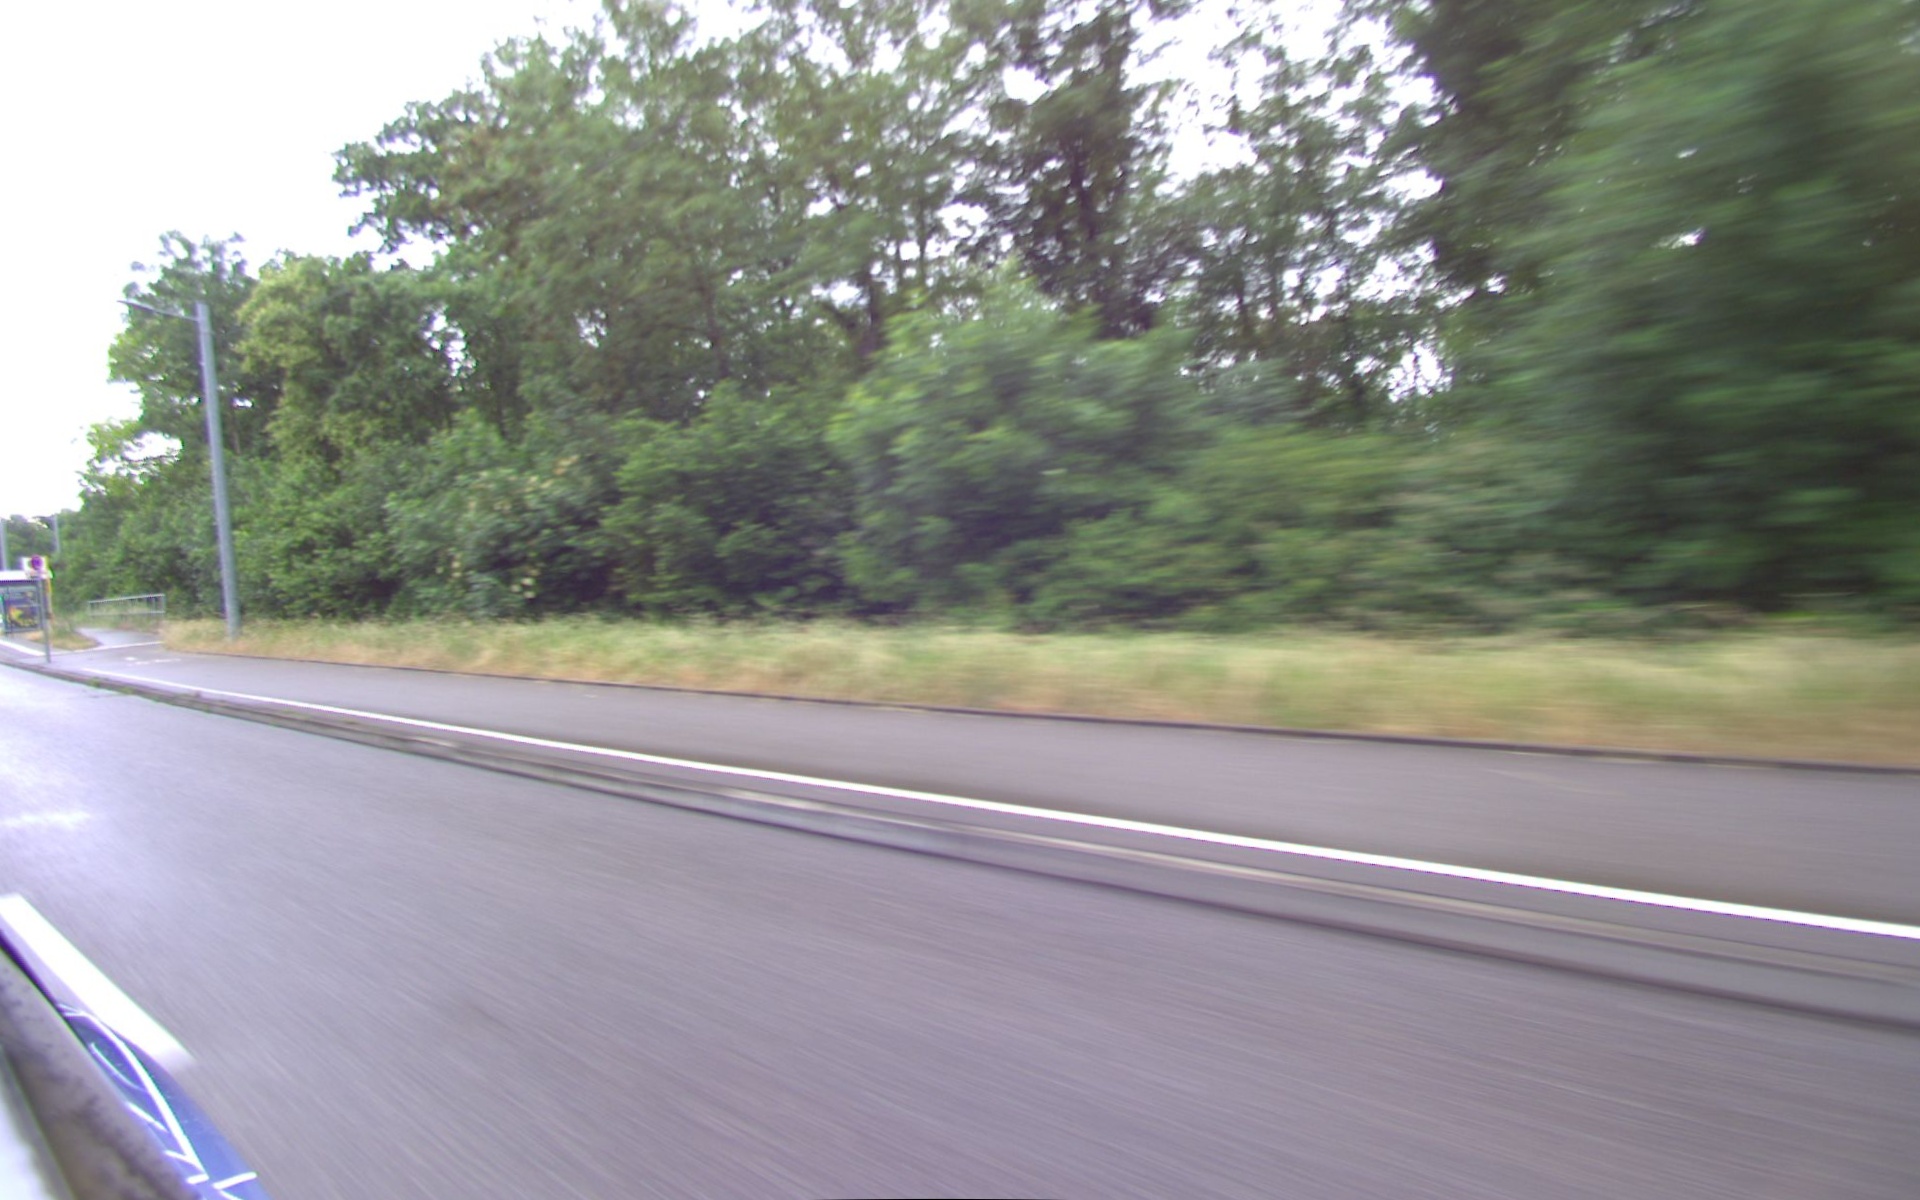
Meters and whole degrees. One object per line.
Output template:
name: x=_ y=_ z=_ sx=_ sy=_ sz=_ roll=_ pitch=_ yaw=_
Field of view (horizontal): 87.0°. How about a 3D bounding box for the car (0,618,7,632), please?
car: x=-107.351 y=2.826 z=112.155 sx=1.788 sy=1.408 sz=4.114 roll=-4 pitch=3 yaw=-33
